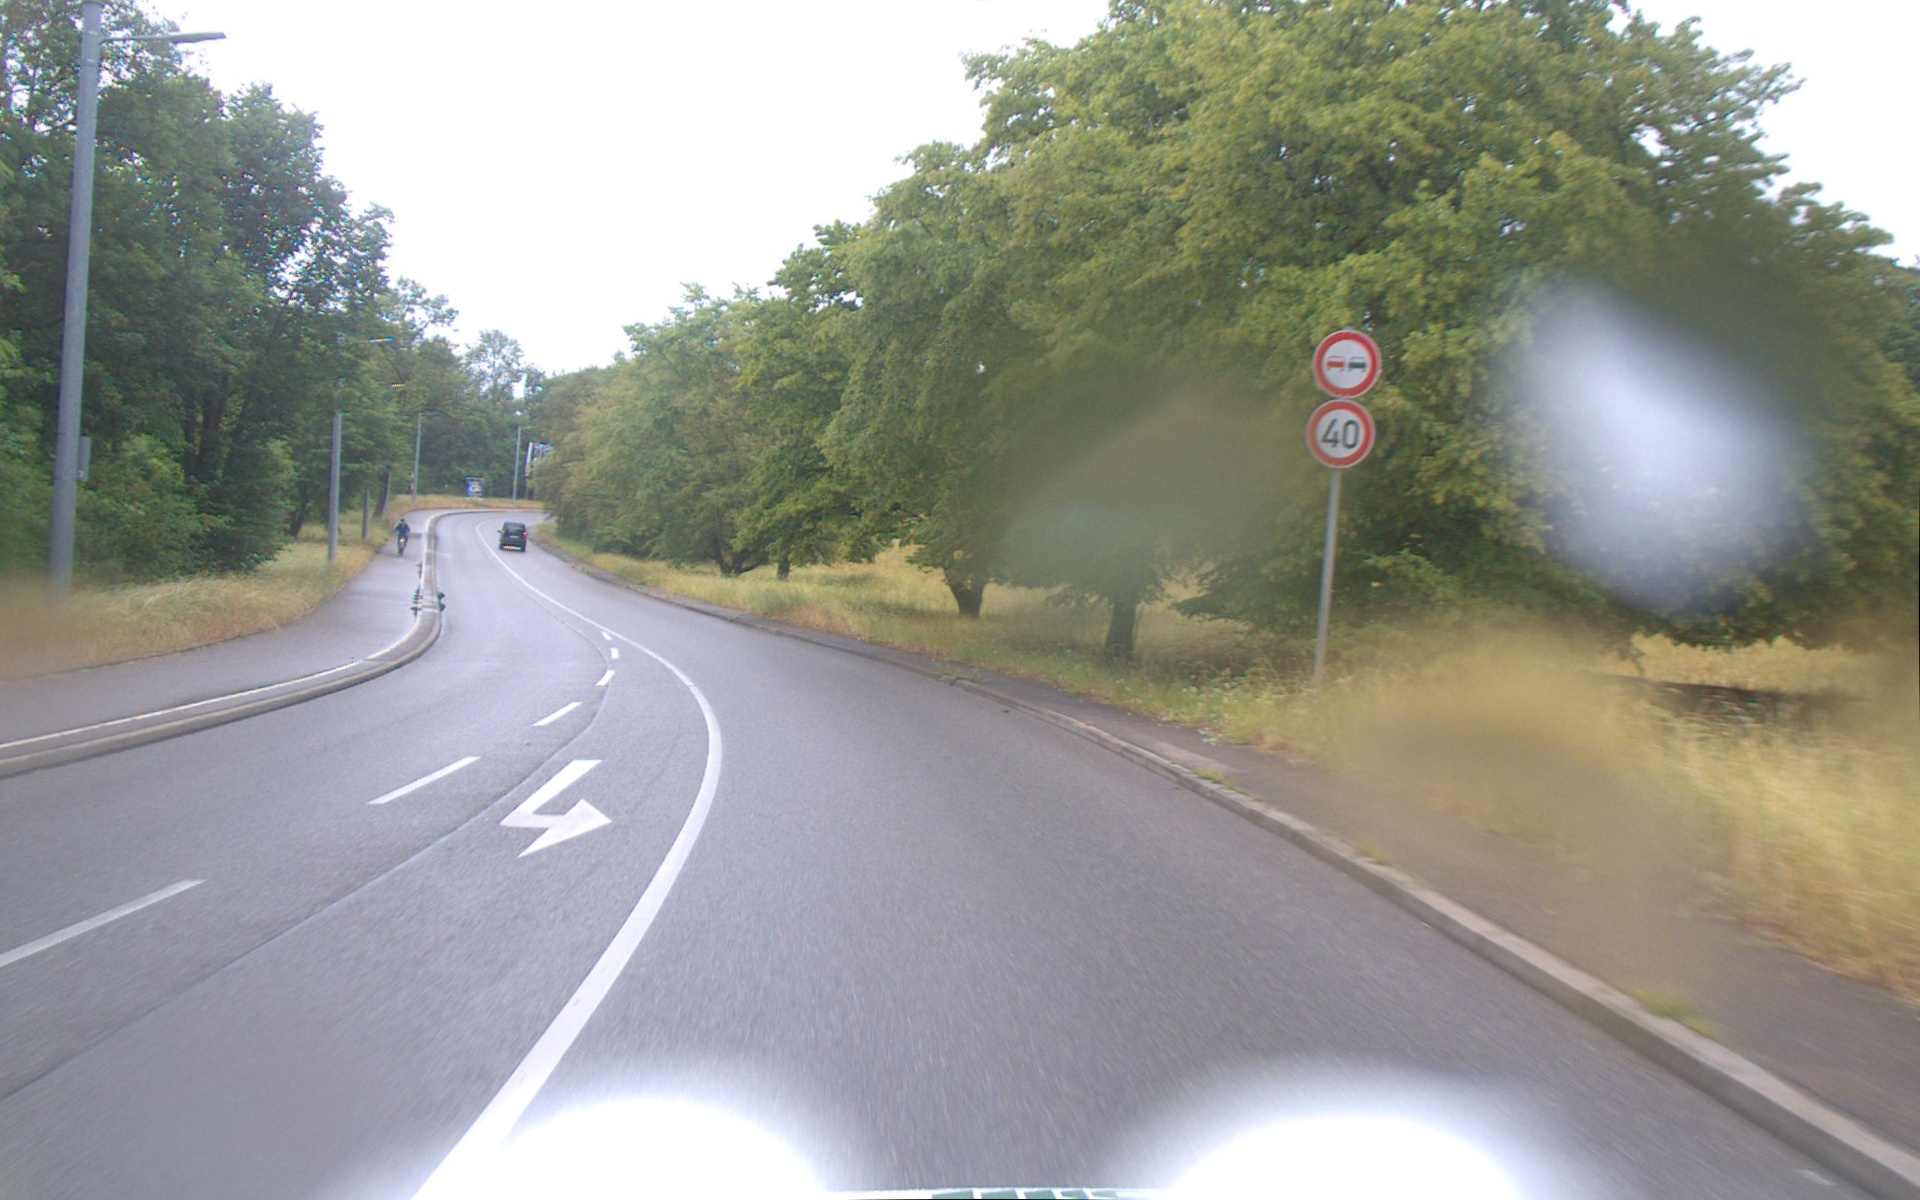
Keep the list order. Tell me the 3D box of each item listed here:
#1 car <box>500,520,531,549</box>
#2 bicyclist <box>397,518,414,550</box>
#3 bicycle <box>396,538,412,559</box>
[{"bbox_3d":[-29.376,-4.368,109.292,1.714,1.746,3.982,4,1,-17],"label":"car"},{"bbox_3d":[-28.570,-3.407,85.220,0.698,1.582,1.165,5,1,-19],"label":"bicyclist"},{"bbox_3d":[-28.596,-2.676,85.095,0.713,0.958,2.538,5,1,-19],"label":"bicycle"}]
